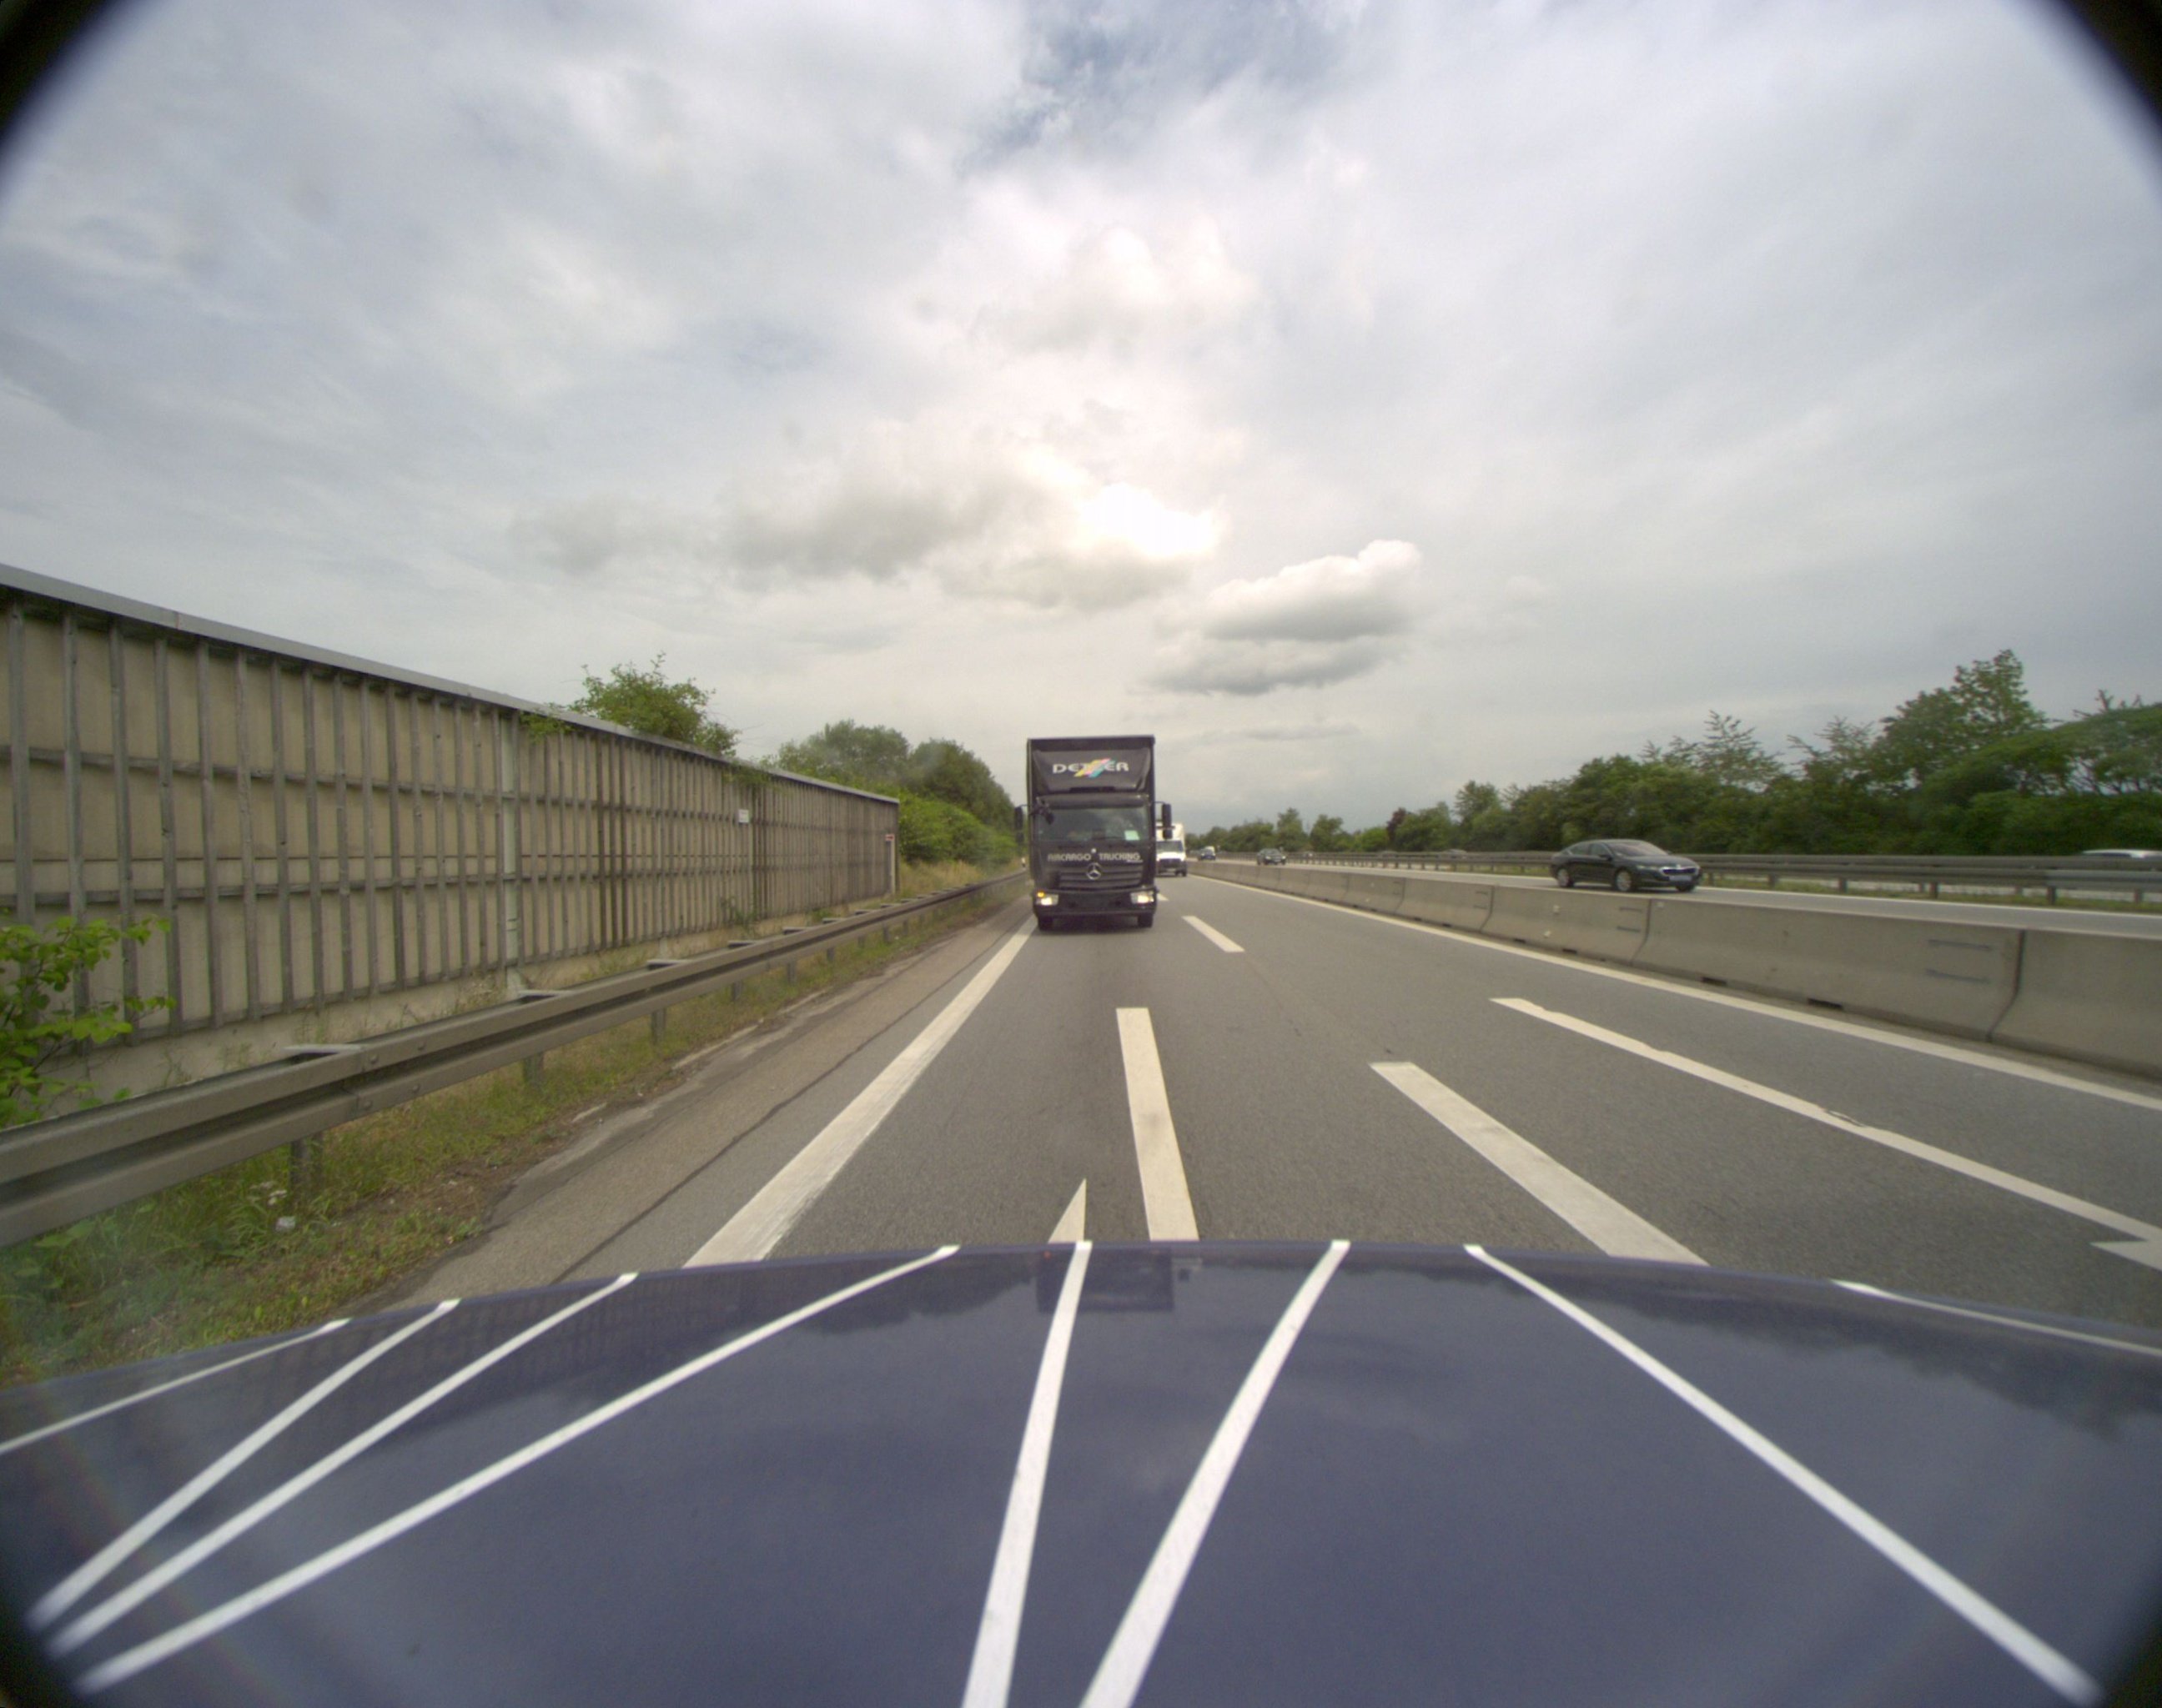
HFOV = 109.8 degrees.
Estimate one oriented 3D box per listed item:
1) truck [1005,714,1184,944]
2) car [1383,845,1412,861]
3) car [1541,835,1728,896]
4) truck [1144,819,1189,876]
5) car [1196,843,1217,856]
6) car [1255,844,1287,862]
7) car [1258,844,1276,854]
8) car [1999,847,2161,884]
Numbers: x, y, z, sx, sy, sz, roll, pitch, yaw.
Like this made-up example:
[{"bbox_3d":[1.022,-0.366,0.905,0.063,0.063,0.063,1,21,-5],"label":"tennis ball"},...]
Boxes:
[{"bbox_3d":[0.149,-0.482,18.476,3.025,3.932,10.338,-2,1,-1],"label":"truck"},{"bbox_3d":[37.078,-0.135,89.051,1.691,1.718,3.999,-2,1,0],"label":"car"},{"bbox_3d":[15.607,0.274,21.802,2.064,1.518,4.567,-2,1,1],"label":"car"},{"bbox_3d":[5.106,-0.379,45.234,2.409,3.072,6.372,-2,1,7],"label":"truck"},{"bbox_3d":[16.929,-0.560,102.660,1.998,1.652,4.383,-2,1,0],"label":"car"},{"bbox_3d":[16.684,-0.123,66.924,1.776,1.442,4.383,-2,1,1],"label":"car"},{"bbox_3d":[29.399,-0.859,120.347,1.737,1.511,3.718,-2,1,-2],"label":"car"},{"bbox_3d":[36.496,0.370,27.493,1.691,1.186,4.003,-1,1,0],"label":"car"}]
